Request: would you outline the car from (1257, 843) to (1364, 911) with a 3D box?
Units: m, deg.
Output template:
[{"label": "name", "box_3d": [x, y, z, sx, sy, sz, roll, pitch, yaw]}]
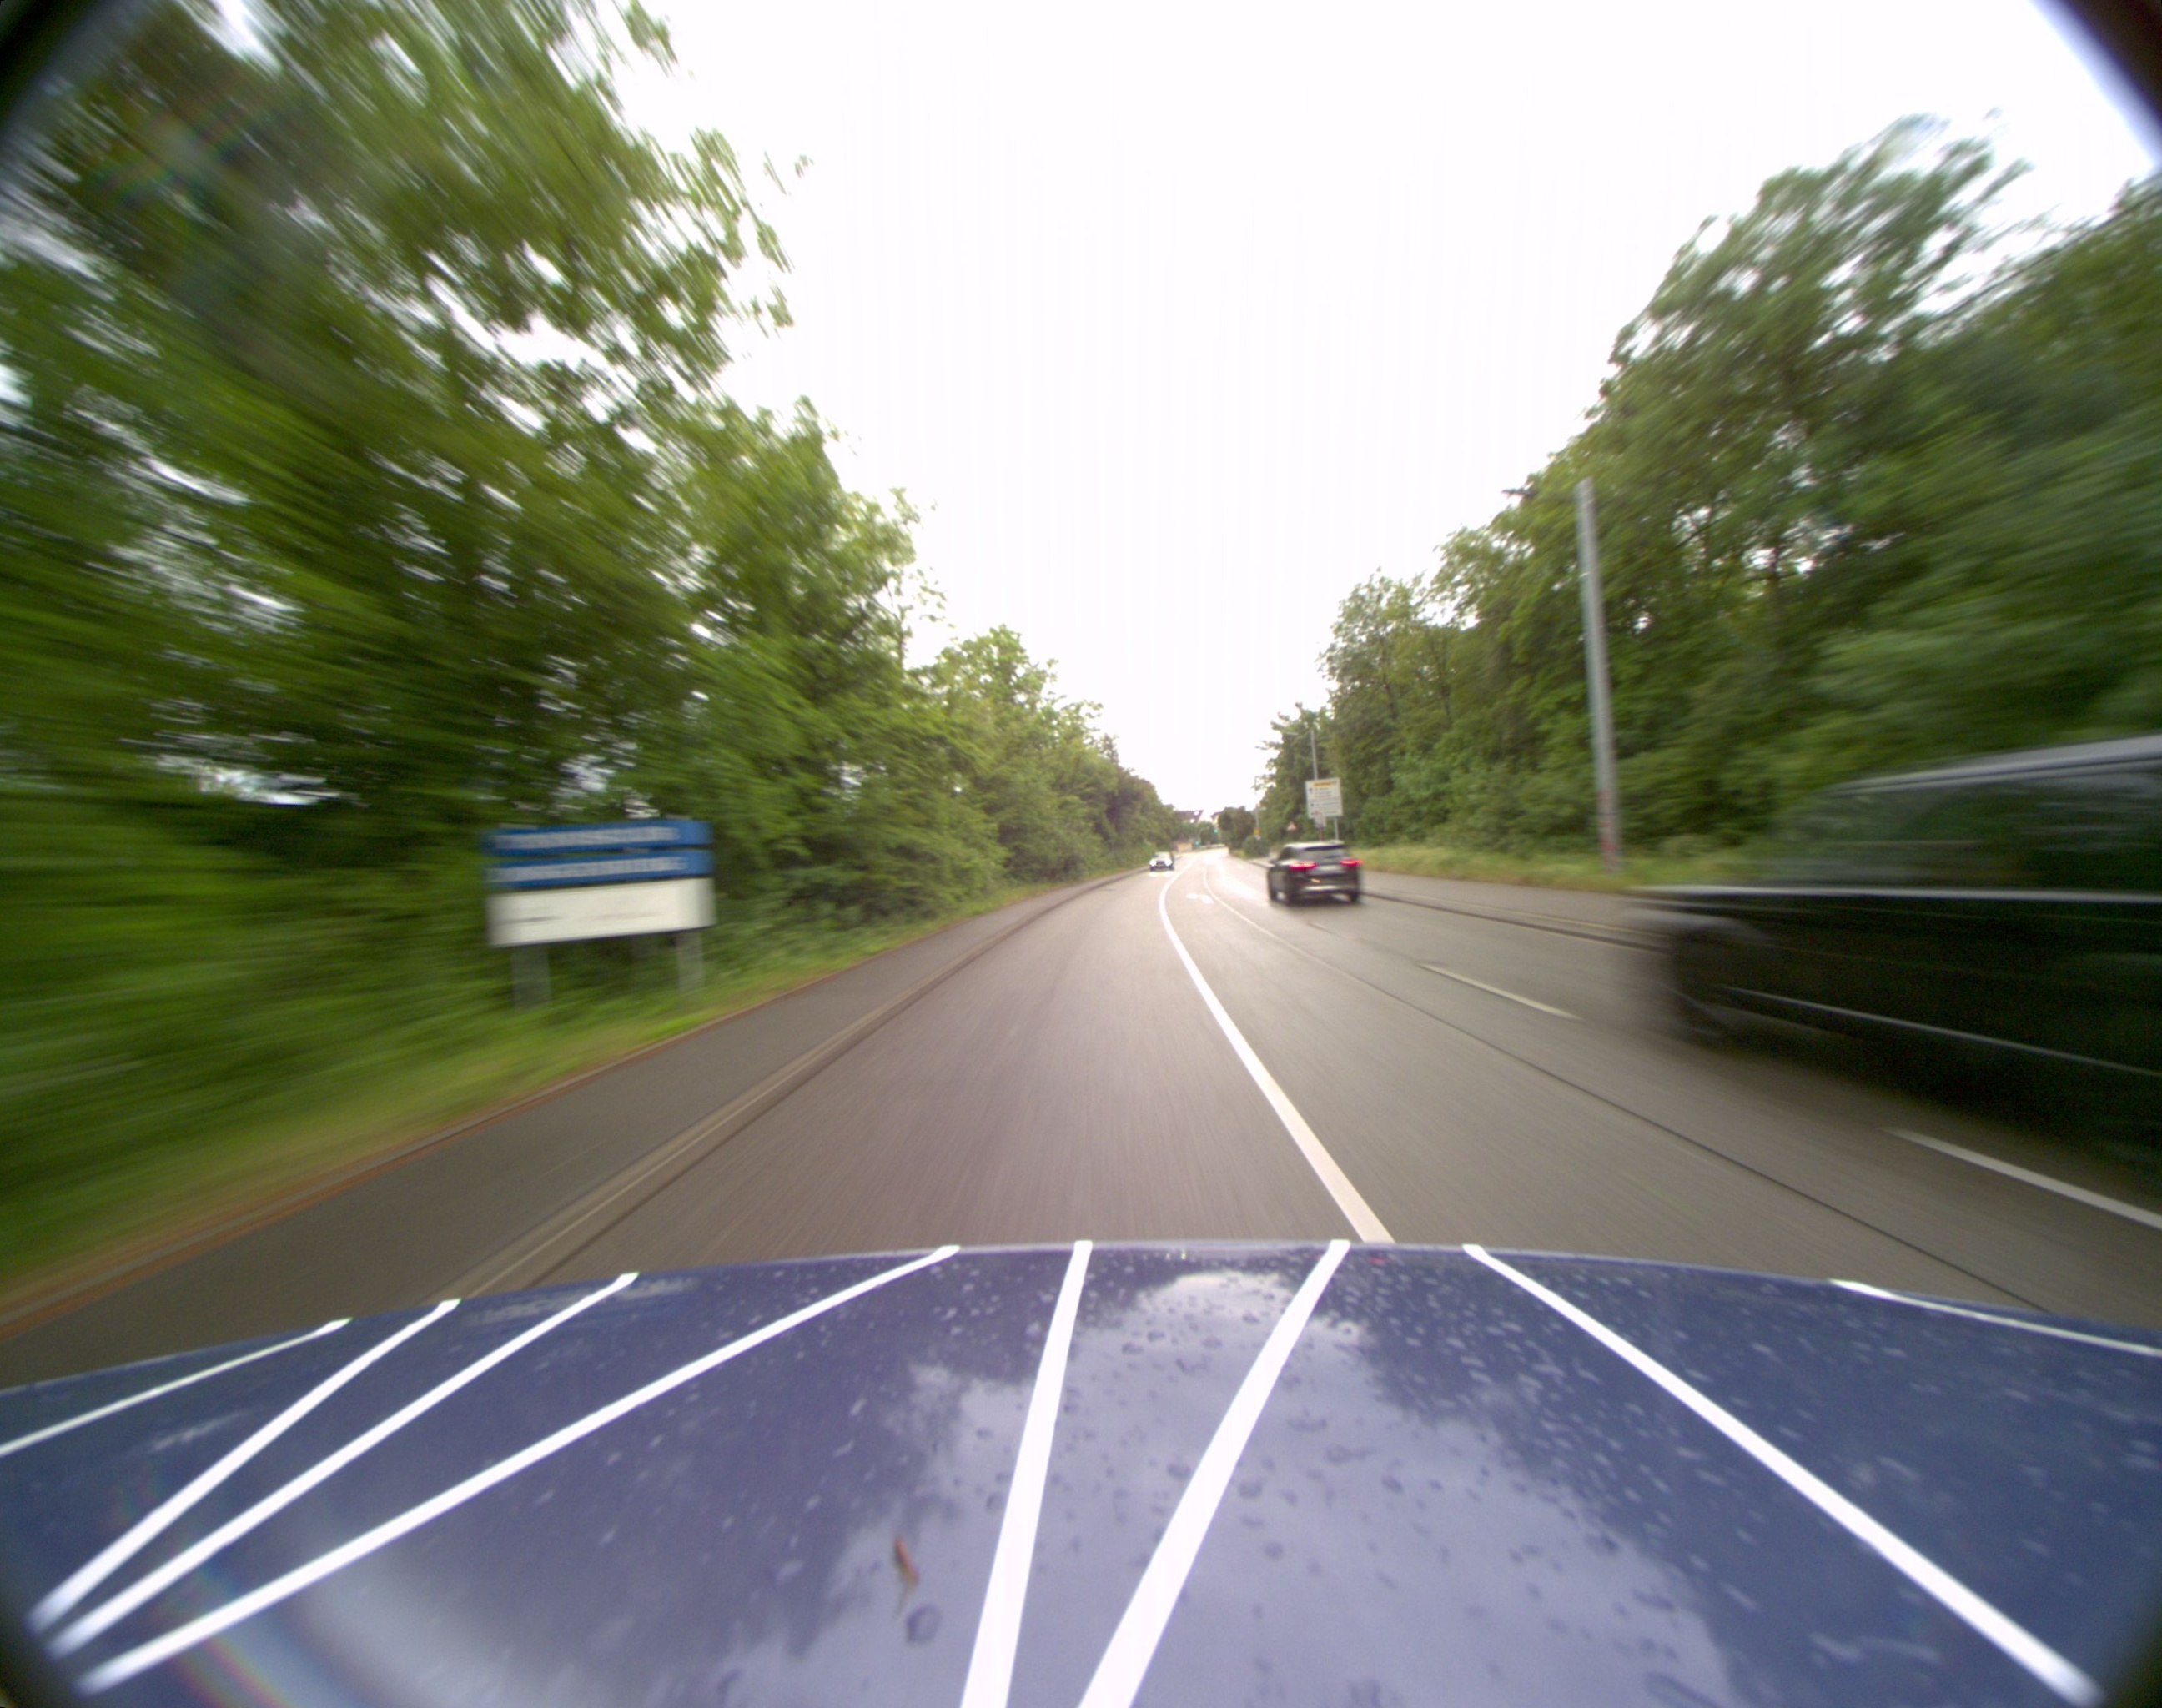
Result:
[{"label": "car", "box_3d": [6.214, 0.571, 21.094, 1.812, 1.585, 4.519, -3, 0, 4]}]

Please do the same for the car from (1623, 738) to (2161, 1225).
[{"label": "car", "box_3d": [5.041, 0.497, 3.563, 1.831, 1.832, 4.712, 1, 0, 4]}]

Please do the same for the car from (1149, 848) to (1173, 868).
[{"label": "car", "box_3d": [6.487, 0.347, 61.329, 1.830, 1.511, 4.003, 1, -1, 7]}]
